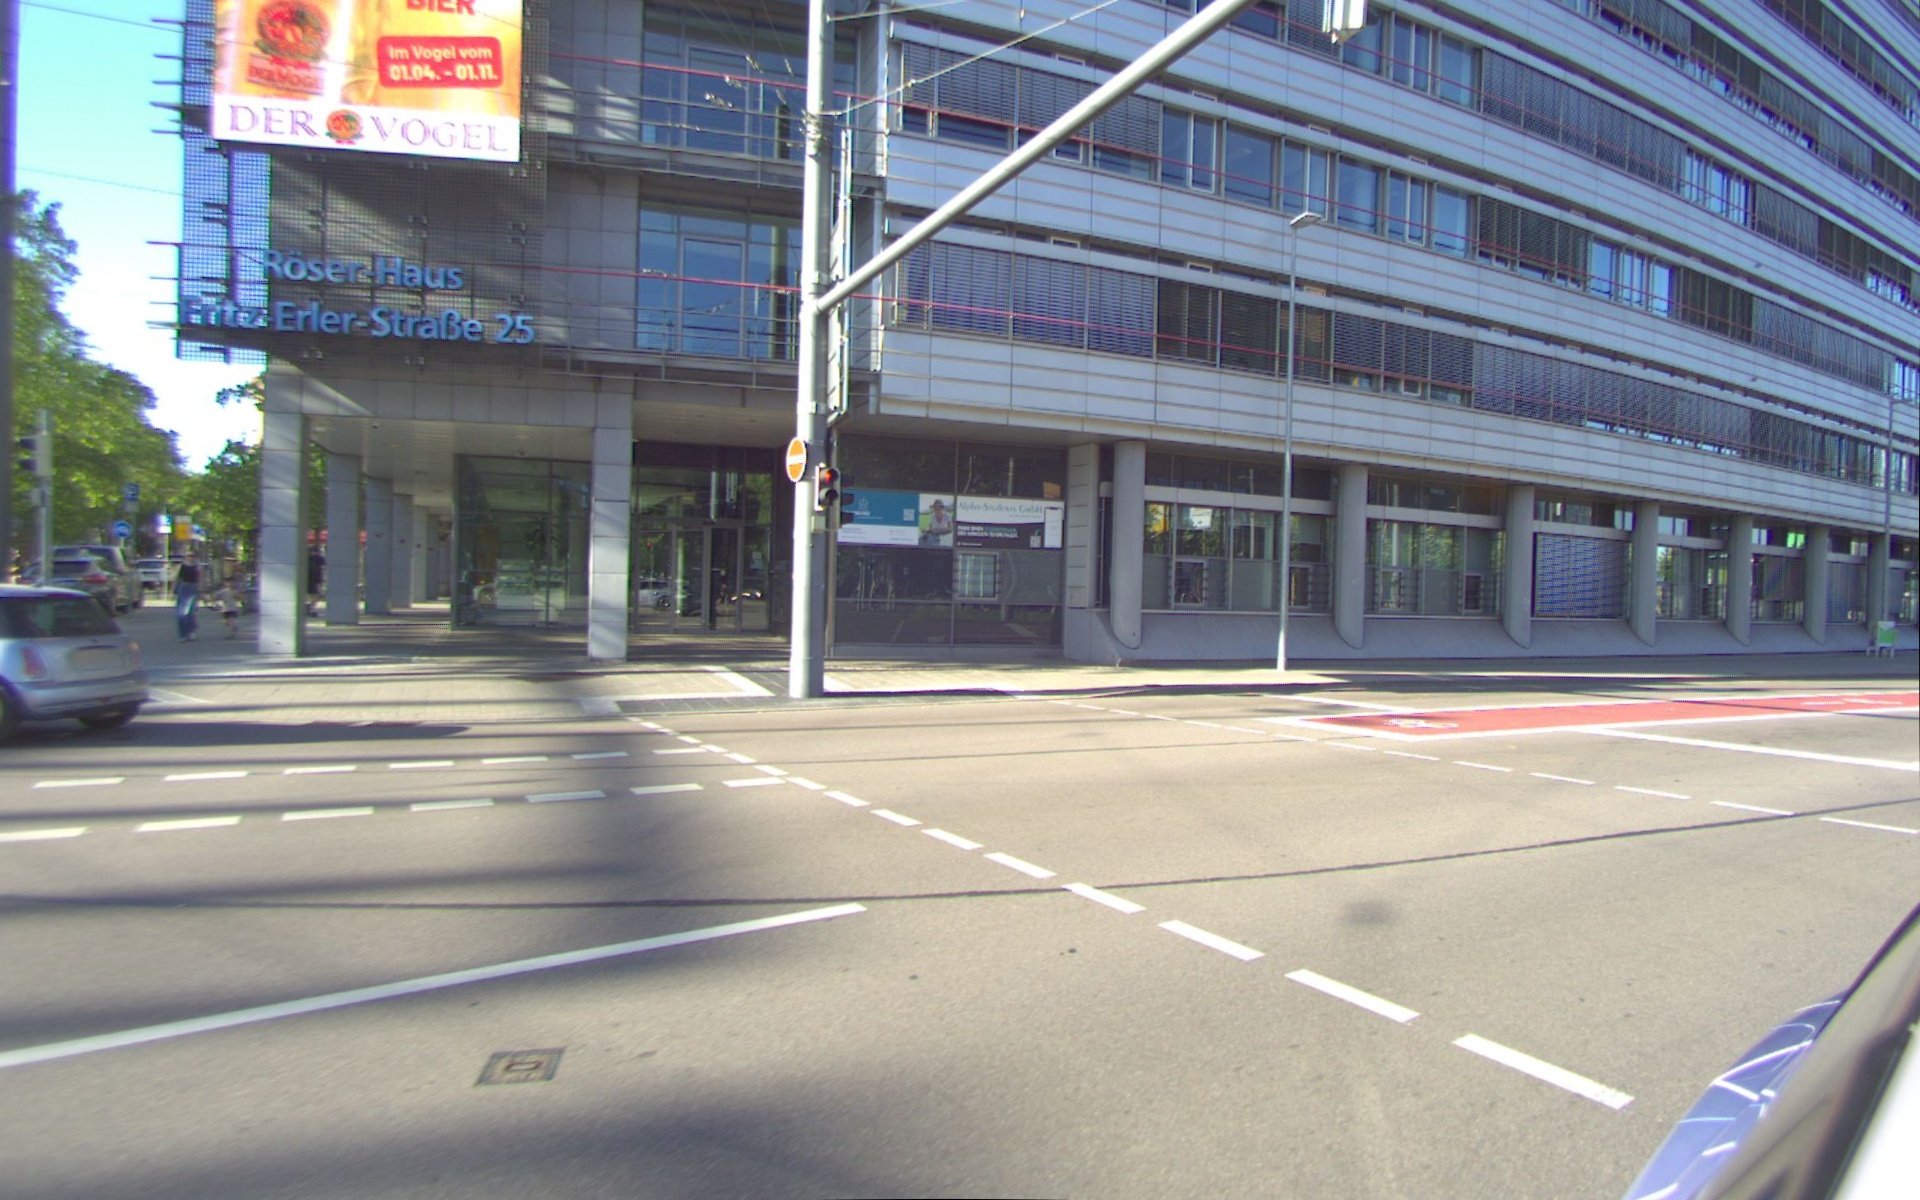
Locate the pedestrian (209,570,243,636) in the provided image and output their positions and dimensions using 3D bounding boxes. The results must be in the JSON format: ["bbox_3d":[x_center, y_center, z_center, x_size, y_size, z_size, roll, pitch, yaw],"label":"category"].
[{"bbox_3d":[-13.787,0.057,19.009,0.434,1.225,0.462,2,0,-30],"label":"pedestrian"}]

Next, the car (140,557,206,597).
[{"bbox_3d":[-31.979,-0.954,41.090,1.835,1.493,3.971,1,1,-42],"label":"car"}]

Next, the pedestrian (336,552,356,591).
[{"bbox_3d":[-27.804,-1.283,45.843,0.623,1.756,0.794,1,-1,-24],"label":"pedestrian"}]

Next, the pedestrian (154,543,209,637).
[{"bbox_3d":[-14.127,-0.173,18.377,0.648,1.661,0.794,2,0,-30],"label":"pedestrian"}]

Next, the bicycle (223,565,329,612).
[{"bbox_3d":[-19.354,-0.322,28.693,2.344,1.229,0.777,2,0,-23],"label":"bicycle"}]

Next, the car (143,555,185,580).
[{"bbox_3d":[-49.706,-2.052,63.191,1.835,1.493,3.971,1,1,-42],"label":"car"}]

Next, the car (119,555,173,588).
[{"bbox_3d":[-39.597,-1.393,49.190,1.835,1.493,3.971,1,1,-42],"label":"car"}]

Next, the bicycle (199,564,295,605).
[{"bbox_3d":[-22.592,-0.485,32.105,2.355,1.229,0.773,2,0,-44],"label":"bicycle"}]

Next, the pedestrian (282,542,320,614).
[{"bbox_3d":[-16.458,-0.533,25.285,0.574,1.756,0.795,1,-1,-18],"label":"pedestrian"}]

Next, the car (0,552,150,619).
[{"bbox_3d":[-21.572,-0.382,24.753,1.828,1.493,3.985,1,1,-25],"label":"car"}]

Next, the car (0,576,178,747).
[{"bbox_3d":[-9.559,0.466,9.220,3.465,1.406,1.668,2,0,-6],"label":"car"}]

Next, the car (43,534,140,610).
[{"bbox_3d":[-25.449,-0.827,29.791,1.832,2.041,4.456,1,1,-37],"label":"car"}]

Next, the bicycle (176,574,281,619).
[{"bbox_3d":[-21.200,-0.083,29.360,2.355,1.229,0.773,2,0,-44],"label":"bicycle"}]
